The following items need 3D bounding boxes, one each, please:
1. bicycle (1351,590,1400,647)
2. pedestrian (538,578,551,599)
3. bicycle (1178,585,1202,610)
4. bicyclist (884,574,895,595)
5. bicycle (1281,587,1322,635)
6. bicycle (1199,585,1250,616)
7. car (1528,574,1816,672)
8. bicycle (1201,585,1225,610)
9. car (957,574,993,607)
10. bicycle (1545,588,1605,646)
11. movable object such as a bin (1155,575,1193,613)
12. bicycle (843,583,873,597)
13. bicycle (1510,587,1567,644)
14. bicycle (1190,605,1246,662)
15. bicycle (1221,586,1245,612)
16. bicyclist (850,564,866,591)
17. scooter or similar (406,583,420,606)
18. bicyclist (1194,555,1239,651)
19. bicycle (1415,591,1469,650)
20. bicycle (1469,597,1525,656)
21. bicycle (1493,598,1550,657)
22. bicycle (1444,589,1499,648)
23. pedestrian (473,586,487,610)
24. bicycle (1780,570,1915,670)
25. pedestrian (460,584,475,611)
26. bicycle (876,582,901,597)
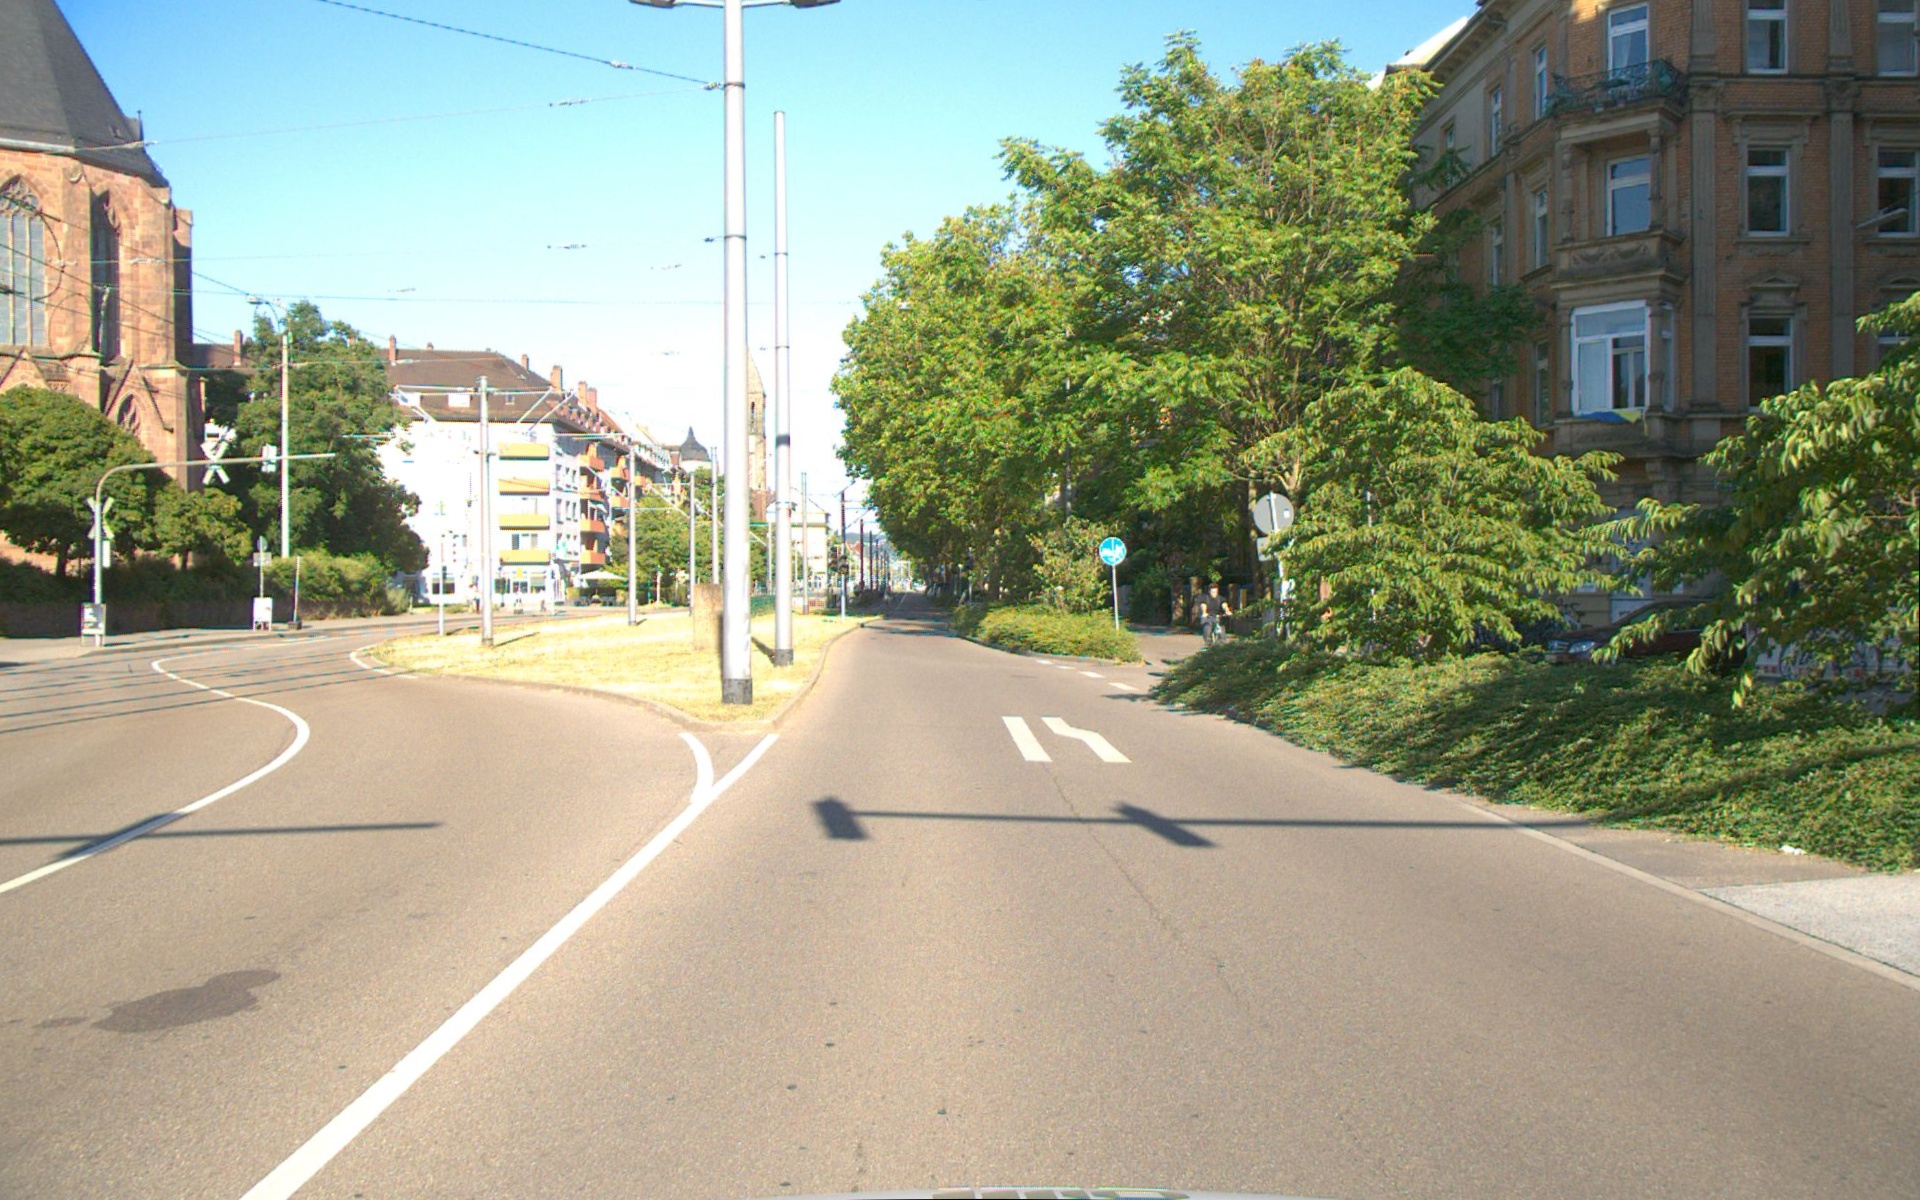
[{"bbox_3d":[8.849,0.383,35.293,0.507,1.065,1.820,-2,4,-2],"label":"bicycle"},{"bbox_3d":[-29.728,-0.821,118.388,0.583,1.493,0.906,-4,4,-31],"label":"pedestrian"},{"bbox_3d":[8.285,-0.099,59.552,0.753,0.868,0.375,-2,3,-5],"label":"bicycle"},{"bbox_3d":[-5.283,-1.160,123.782,0.735,1.584,0.572,-2,3,-10],"label":"bicyclist"},{"bbox_3d":[8.145,0.258,39.498,0.515,1.005,1.722,-2,4,-3],"label":"bicycle"},{"bbox_3d":[8.870,0.006,55.461,1.619,0.940,0.539,-2,3,-1],"label":"bicycle"},{"bbox_3d":[12.105,0.367,28.299,4.165,1.439,1.813,-1,3,-2],"label":"car"},{"bbox_3d":[9.116,-0.100,59.625,0.753,0.868,0.375,-2,3,-5],"label":"bicycle"},{"bbox_3d":[0.724,-0.497,82.469,1.610,1.537,4.182,-2,1,-1],"label":"car"},{"bbox_3d":[12.812,0.337,34.476,0.507,1.065,1.820,-2,4,-2],"label":"bicycle"},{"bbox_3d":[8.259,-0.225,63.884,1.207,1.406,1.257,-2,1,-3],"label":"movable object such as a bin"},{"bbox_3d":[-7.461,-0.752,121.289,2.196,0.993,0.682,-1,3,-3],"label":"bicycle"},{"bbox_3d":[12.259,0.313,35.095,0.507,1.065,1.820,-2,4,-2],"label":"bicycle"},{"bbox_3d":[5.116,0.641,32.949,0.628,1.066,2.359,-2,0,-2],"label":"bicycle"},{"bbox_3d":[9.844,-0.033,59.642,0.753,0.868,0.375,-2,3,-5],"label":"bicycle"},{"bbox_3d":[-7.495,-1.624,121.224,1.118,1.923,0.682,-2,3,-2],"label":"bicyclist"},{"bbox_3d":[-32.899,-0.315,99.512,0.393,1.282,1.231,-2,4,-1],"label":"scooter or similar"},{"bbox_3d":[5.107,0.060,32.955,0.628,1.846,1.052,-2,0,-2],"label":"bicyclist"},{"bbox_3d":[9.973,0.415,34.288,0.507,1.065,1.820,-2,4,-2],"label":"bicycle"},{"bbox_3d":[11.144,0.541,34.367,0.507,1.065,1.820,-2,4,-2],"label":"bicycle"},{"bbox_3d":[11.665,0.553,34.394,0.507,1.065,1.820,-2,4,-2],"label":"bicycle"},{"bbox_3d":[10.601,0.372,34.315,0.507,1.065,1.820,-2,4,-2],"label":"bicycle"},{"bbox_3d":[-30.895,-0.132,106.531,0.577,1.493,0.916,-2,3,-1],"label":"pedestrian"},{"bbox_3d":[11.810,0.263,22.072,0.480,1.260,1.884,-2,0,-11],"label":"bicycle"},{"bbox_3d":[-31.656,-0.169,106.359,0.631,1.626,0.898,-2,3,-1],"label":"pedestrian"},{"bbox_3d":[-5.375,-0.800,123.774,1.782,1.065,0.572,-2,3,-10],"label":"bicycle"}]
